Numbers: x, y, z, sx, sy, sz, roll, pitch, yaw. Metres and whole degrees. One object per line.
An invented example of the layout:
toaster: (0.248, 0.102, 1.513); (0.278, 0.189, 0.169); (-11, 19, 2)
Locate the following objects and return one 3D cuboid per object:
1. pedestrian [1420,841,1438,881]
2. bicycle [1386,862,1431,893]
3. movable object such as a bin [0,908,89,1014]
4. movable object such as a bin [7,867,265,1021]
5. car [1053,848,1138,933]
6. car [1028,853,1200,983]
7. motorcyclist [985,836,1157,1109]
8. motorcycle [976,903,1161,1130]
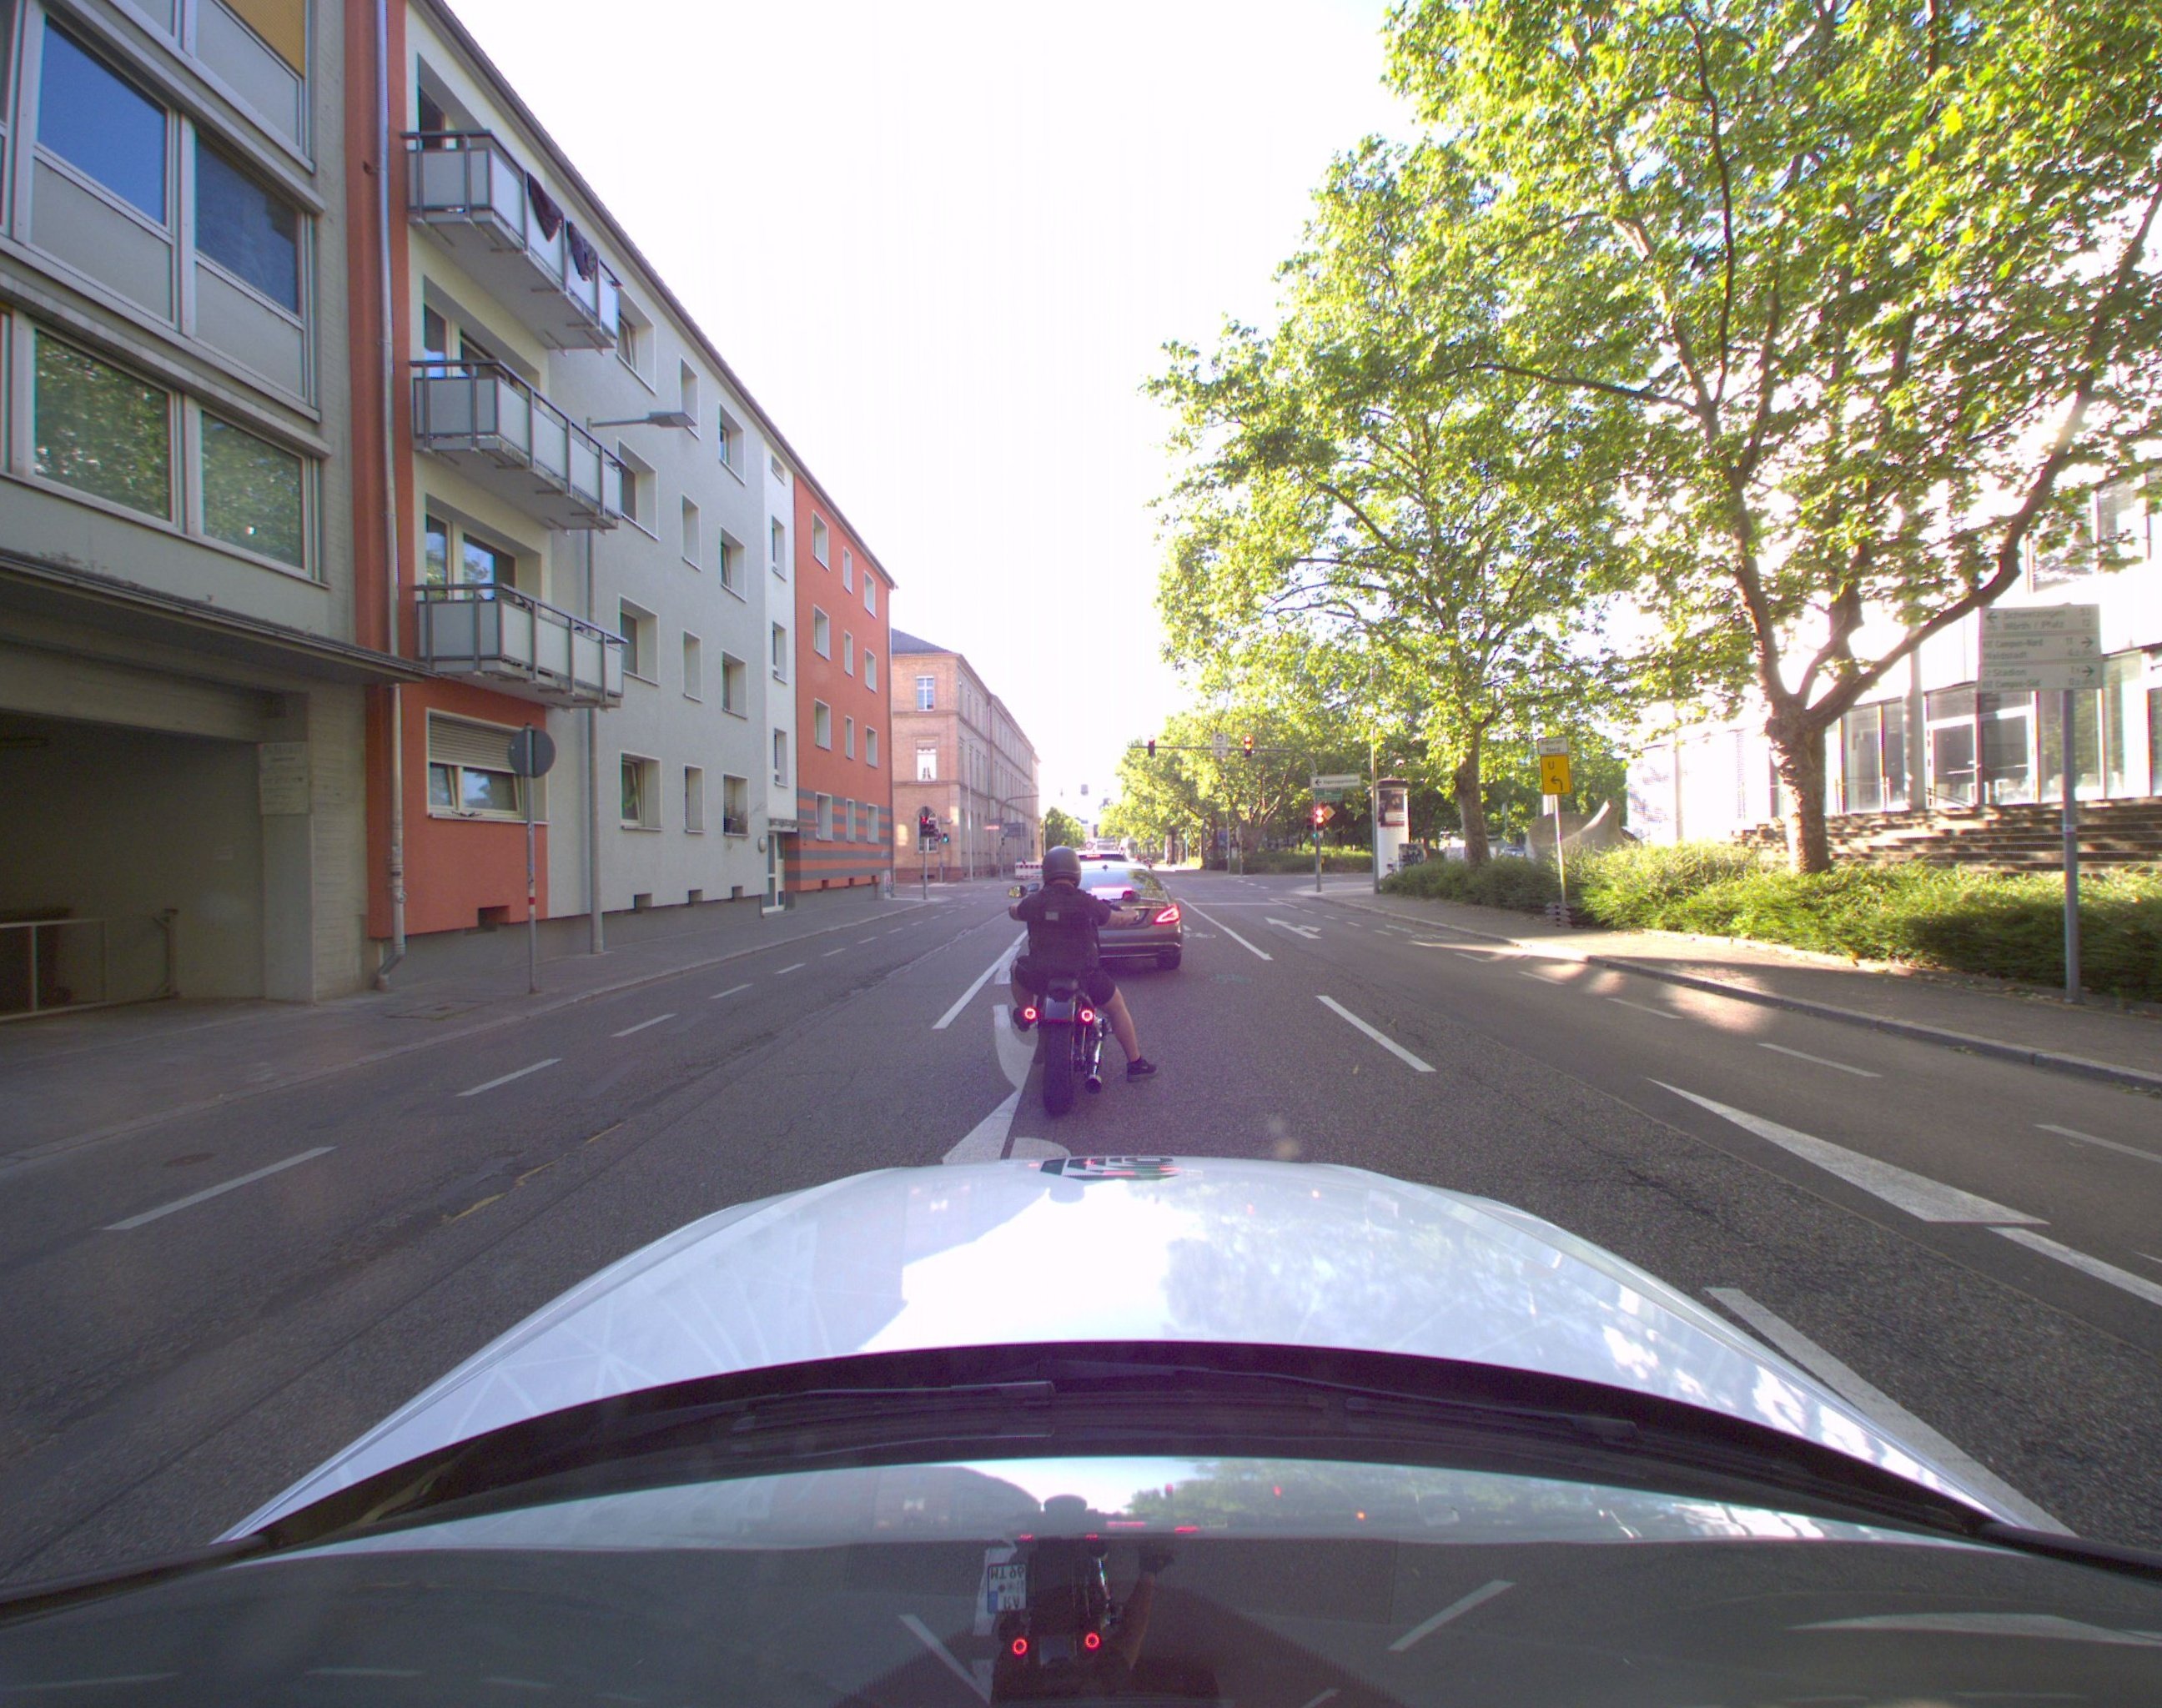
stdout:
pedestrian: (16.412, 0.321, 38.429); (0.549, 1.849, 0.594); (-1, 0, 3)
bicycle: (11.048, 0.793, 27.517); (1.346, 1.023, 0.363); (-1, 0, 2)
movable object such as a bin: (-11.318, 1.119, 8.685); (0.593, 1.041, 0.703); (0, -1, 1)
movable object such as a bin: (-9.627, 0.873, 8.370); (1.322, 1.430, 1.134); (-1, 0, 3)
car: (0.319, 0.709, 17.892); (1.606, 1.607, 4.329); (-1, 0, 1)
car: (0.255, 0.746, 11.722); (1.943, 1.473, 4.355); (-1, 0, -5)
motorcyclist: (-0.038, 0.703, 5.531); (0.986, 1.597, 1.404); (-1, 0, 2)
motorcycle: (-0.030, 0.962, 5.684); (0.986, 1.078, 2.453); (-1, 0, 2)
